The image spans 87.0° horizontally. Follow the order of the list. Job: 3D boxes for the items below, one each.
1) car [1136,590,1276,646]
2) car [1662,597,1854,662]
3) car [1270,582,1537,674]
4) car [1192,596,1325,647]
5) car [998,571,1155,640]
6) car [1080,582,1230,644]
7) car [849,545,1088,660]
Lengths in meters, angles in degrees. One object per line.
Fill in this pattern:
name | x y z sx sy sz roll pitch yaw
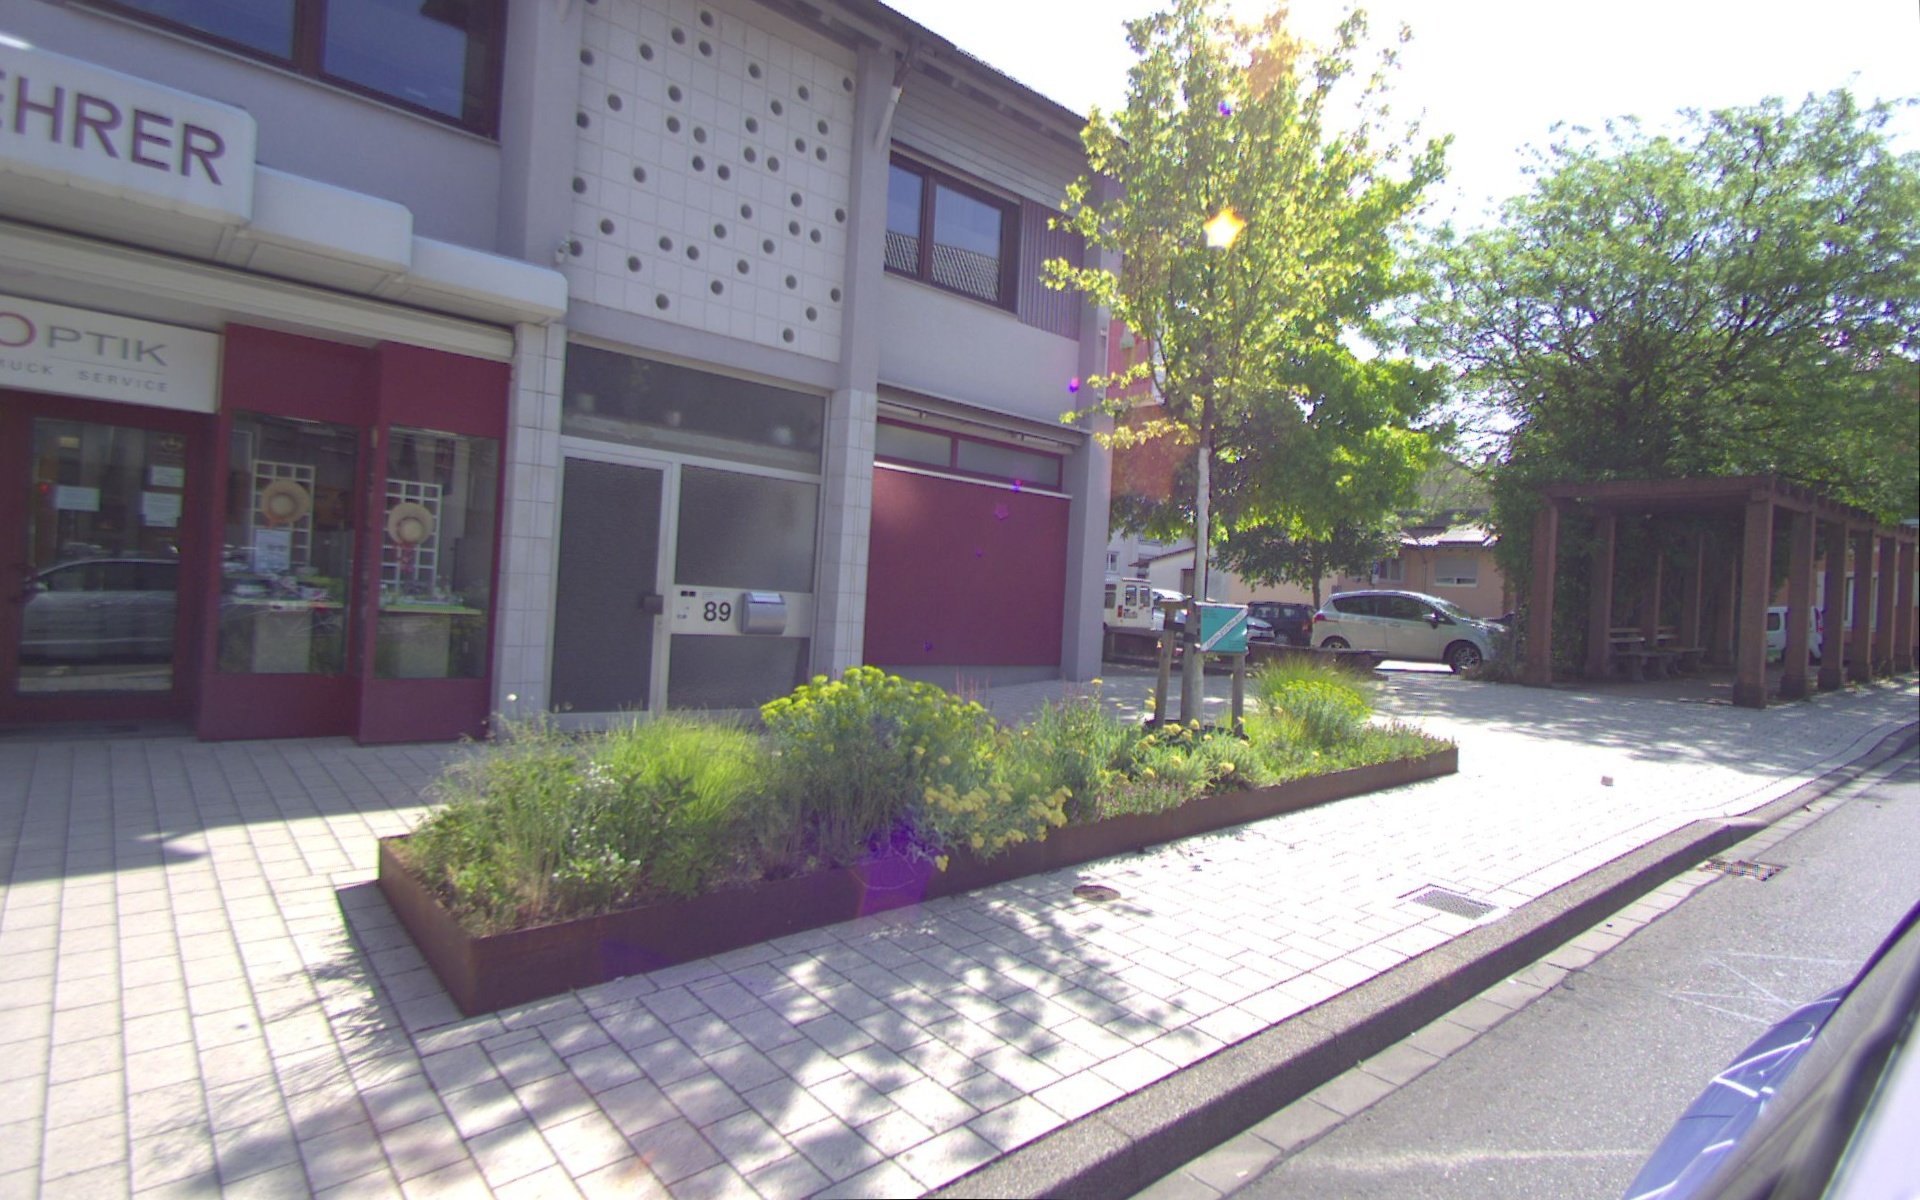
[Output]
car | 7.350 0.503 30.536 1.626 1.509 3.876 1 0 -42
car | 23.682 0.928 30.171 1.778 1.777 4.098 1 -4 -35
car | 8.526 0.466 19.787 1.695 1.564 4.487 1 0 -42
car | 9.505 0.646 32.426 1.494 1.449 3.876 1 0 -42
car | 3.196 0.106 28.320 1.851 1.762 4.181 1 0 -42
car | 5.528 0.326 29.028 1.726 1.632 3.978 1 0 -42
car | 0.025 0.003 15.423 1.693 1.529 3.707 1 0 -38
